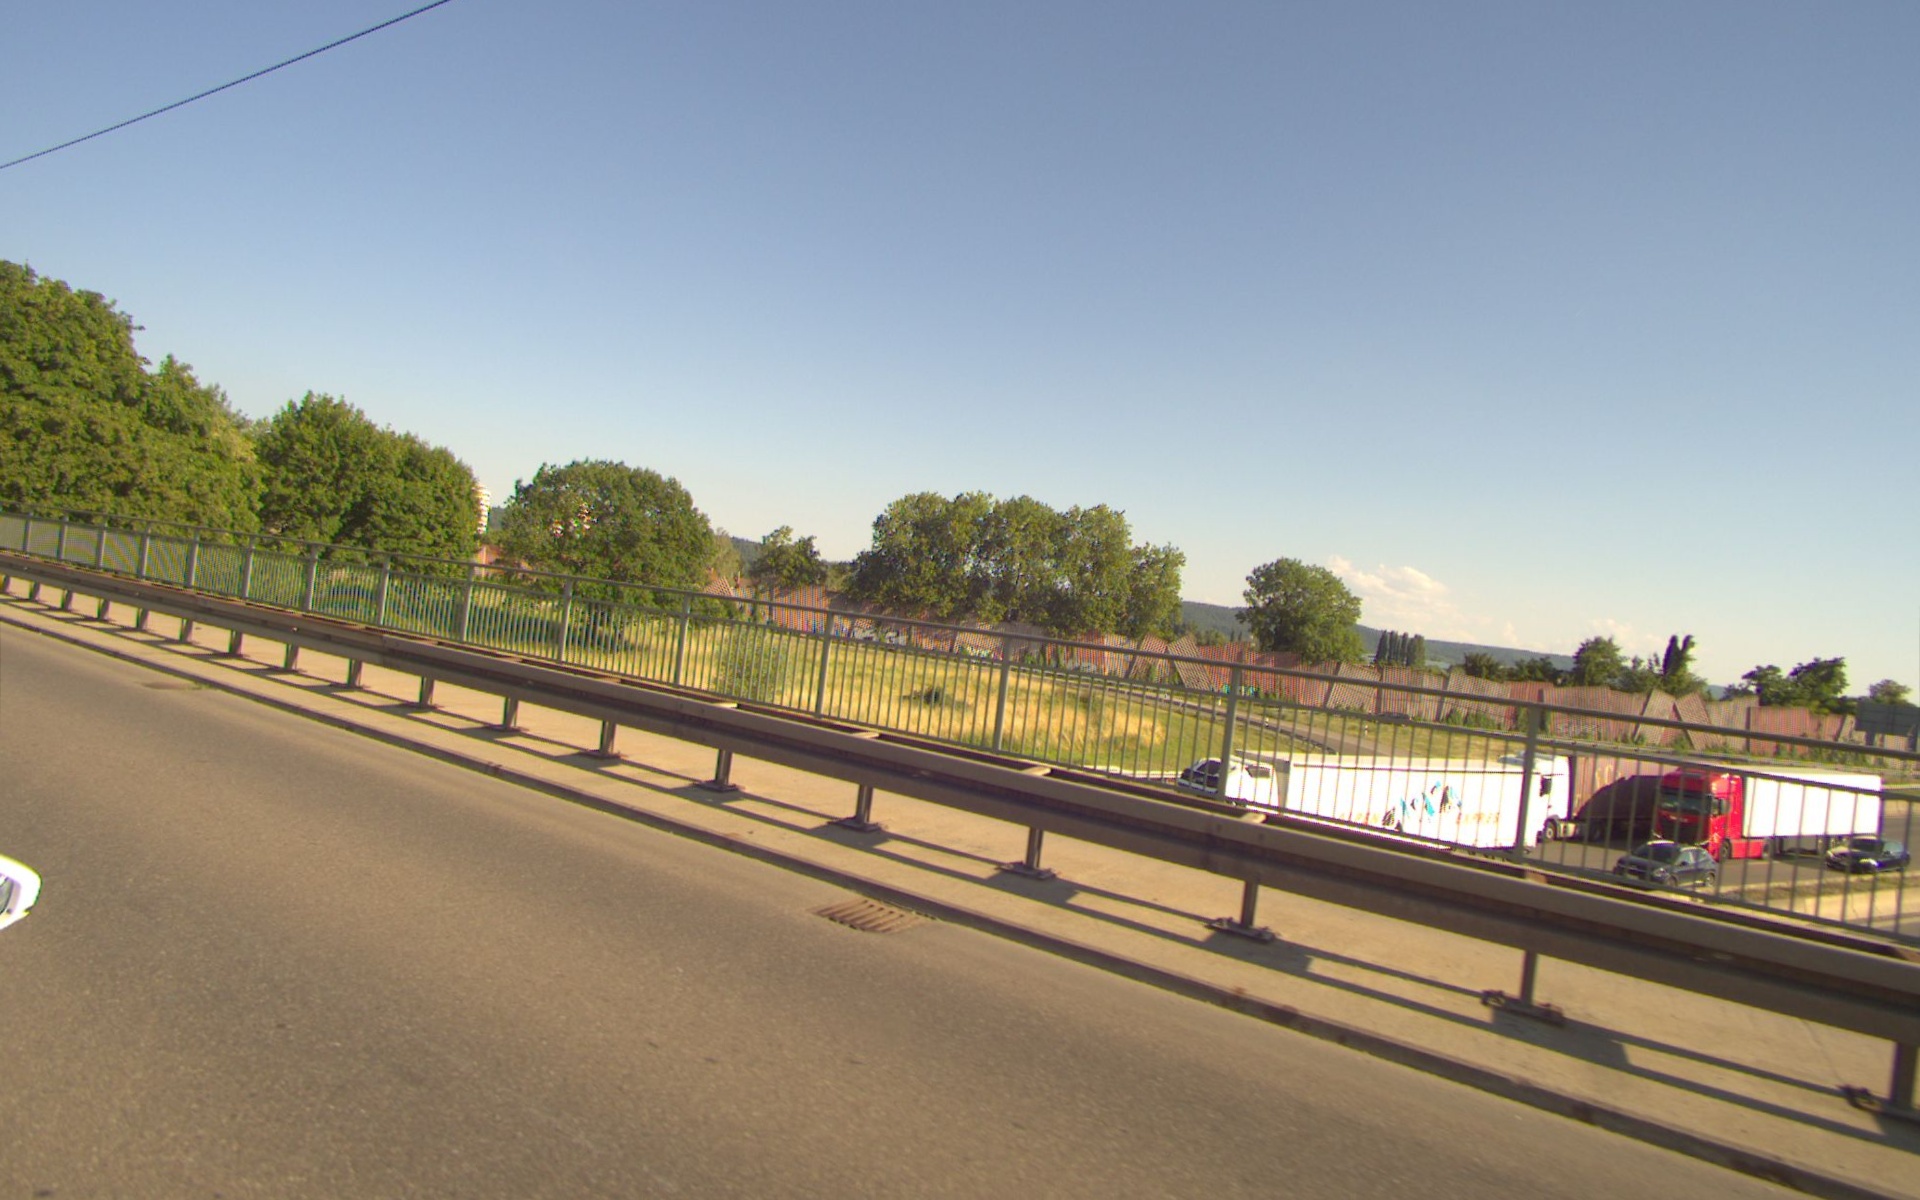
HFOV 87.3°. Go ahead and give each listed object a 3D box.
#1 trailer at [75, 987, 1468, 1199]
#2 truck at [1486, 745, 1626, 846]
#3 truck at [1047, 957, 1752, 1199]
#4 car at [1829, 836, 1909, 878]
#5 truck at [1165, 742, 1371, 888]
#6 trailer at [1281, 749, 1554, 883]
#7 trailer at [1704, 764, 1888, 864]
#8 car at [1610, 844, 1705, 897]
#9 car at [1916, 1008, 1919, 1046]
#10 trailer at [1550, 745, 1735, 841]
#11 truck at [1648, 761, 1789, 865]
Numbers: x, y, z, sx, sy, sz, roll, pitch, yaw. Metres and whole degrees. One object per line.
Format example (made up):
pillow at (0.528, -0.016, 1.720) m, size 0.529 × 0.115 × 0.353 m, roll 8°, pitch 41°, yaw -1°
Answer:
trailer at (-0.797, 5.673, 7.372) m, size 9.260 × 3.900 × 3.037 m, roll 6°, pitch -2°, yaw -27°
truck at (28.496, 9.316, 48.066) m, size 6.406 × 4.219 × 2.543 m, roll 6°, pitch -2°, yaw -27°
truck at (4.421, 6.261, 10.163) m, size 6.526 × 3.928 × 3.037 m, roll 6°, pitch -2°, yaw -27°
car at (41.350, 11.654, 45.752) m, size 3.303 × 1.475 × 1.553 m, roll 6°, pitch -1°, yaw -26°
truck at (10.367, 7.130, 33.732) m, size 6.406 × 4.179 × 2.543 m, roll 6°, pitch -2°, yaw -27°
trailer at (17.147, 7.930, 37.292) m, size 11.349 × 4.115 × 2.543 m, roll 6°, pitch -2°, yaw -27°
trailer at (42.016, 10.677, 50.382) m, size 11.838 × 4.205 × 2.543 m, roll 6°, pitch -2°, yaw -27°
car at (26.148, 10.087, 37.695) m, size 3.306 × 1.475 × 1.552 m, roll 6°, pitch -1°, yaw -29°
car at (25.969, 10.523, 25.170) m, size 3.916 × 1.534 × 1.874 m, roll 7°, pitch -1°, yaw -30°
trailer at (35.075, 9.897, 51.486) m, size 11.349 × 4.205 × 2.543 m, roll 6°, pitch -2°, yaw -27°
truck at (35.417, 9.899, 46.919) m, size 6.406 × 4.219 × 2.543 m, roll 6°, pitch -2°, yaw -27°
